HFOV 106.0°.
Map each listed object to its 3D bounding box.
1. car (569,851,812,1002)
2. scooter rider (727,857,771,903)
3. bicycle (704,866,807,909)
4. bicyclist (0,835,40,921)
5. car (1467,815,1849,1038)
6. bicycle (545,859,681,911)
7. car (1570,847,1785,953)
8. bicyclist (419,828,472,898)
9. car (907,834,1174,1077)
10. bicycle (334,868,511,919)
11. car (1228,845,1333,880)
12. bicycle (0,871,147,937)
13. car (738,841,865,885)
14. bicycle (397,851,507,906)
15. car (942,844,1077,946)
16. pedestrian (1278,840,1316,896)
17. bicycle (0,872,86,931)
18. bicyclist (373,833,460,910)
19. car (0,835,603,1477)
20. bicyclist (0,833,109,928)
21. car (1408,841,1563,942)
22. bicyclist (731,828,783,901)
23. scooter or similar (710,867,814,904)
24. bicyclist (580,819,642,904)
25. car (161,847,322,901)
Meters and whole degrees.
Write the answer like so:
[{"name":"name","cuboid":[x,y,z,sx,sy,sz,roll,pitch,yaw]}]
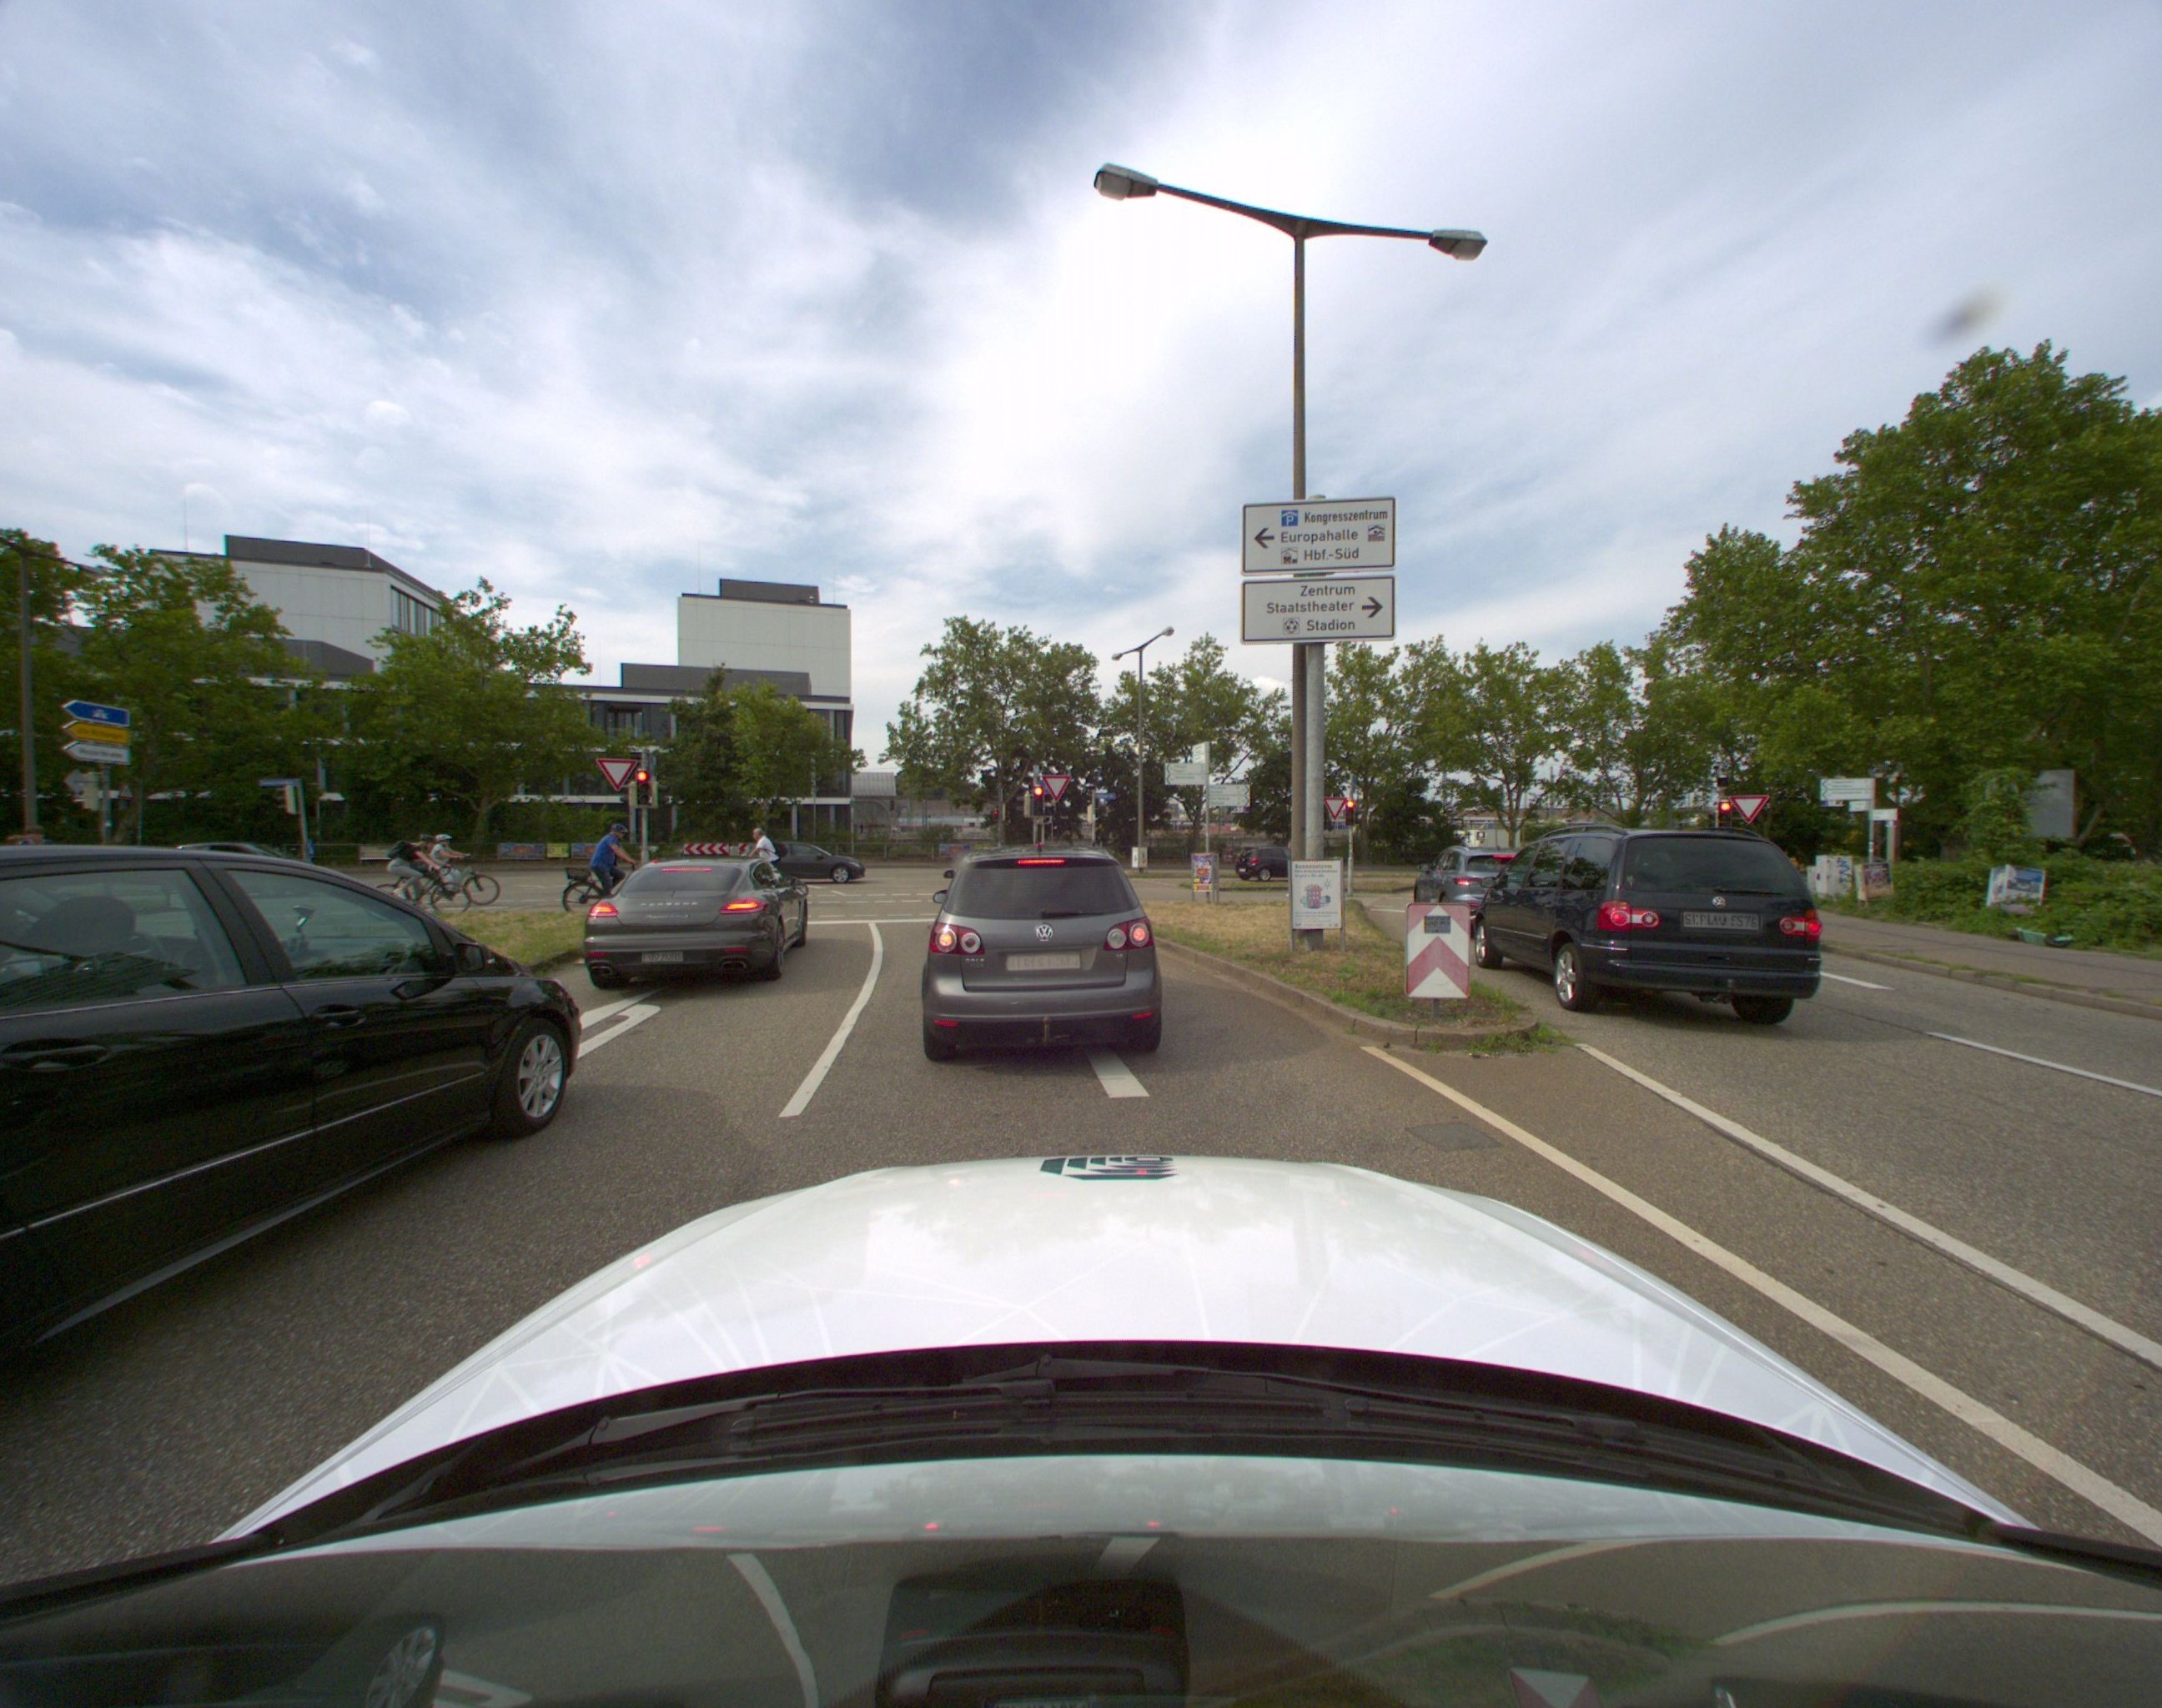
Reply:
[{"name":"car","cuboid":[-4.626,0.695,10.432,1.821,1.414,4.754,0,1,-13]},{"name":"scooter rider","cuboid":[-8.502,0.651,20.902,0.915,1.137,0.805,-1,1,-13]},{"name":"bicycle","cuboid":[-7.774,0.782,19.554,2.235,0.952,0.806,-1,0,-20]},{"name":"bicyclist","cuboid":[-19.523,0.423,14.615,0.843,1.529,0.622,-1,1,-29]},{"name":"car","cuboid":[5.580,0.567,8.602,1.739,1.724,4.151,2,0,11]},{"name":"bicycle","cuboid":[-9.379,0.605,16.419,2.233,0.952,0.807,-1,0,-17]},{"name":"car","cuboid":[10.877,0.739,15.250,1.738,1.643,4.152,2,0,13]},{"name":"bicyclist","cuboid":[-14.775,0.189,18.947,0.782,1.581,0.650,-1,1,-20]},{"name":"car","cuboid":[-0.455,0.643,7.364,1.739,1.546,4.073,-1,0,-6]},{"name":"bicycle","cuboid":[-12.797,0.752,15.929,2.591,0.890,0.700,-1,1,-19]},{"name":"car","cuboid":[8.440,0.333,34.500,4.070,1.368,1.692,-1,0,-20]},{"name":"bicycle","cuboid":[-17.279,0.824,13.720,1.912,1.013,0.623,-1,1,-28]},{"name":"car","cuboid":[-9.667,0.275,28.465,4.067,1.450,1.693,-1,0,-17]},{"name":"bicycle","cuboid":[-14.647,0.555,19.012,1.907,1.210,0.638,-1,1,-21]},{"name":"car","cuboid":[-1.388,0.598,14.109,1.743,1.482,4.063,-1,0,-14]},{"name":"pedestrian","cuboid":[6.705,0.420,25.264,1.038,1.710,0.858,1,1,19]},{"name":"bicycle","cuboid":[-19.480,0.855,14.638,1.913,1.013,0.622,-1,1,-30]},{"name":"bicyclist","cuboid":[-12.942,0.319,15.890,1.116,1.436,0.644,-1,1,-18]},{"name":"car","cuboid":[-3.647,0.724,2.965,1.755,1.575,4.028,0,1,-6]},{"name":"bicyclist","cuboid":[-17.298,0.414,13.695,1.022,1.539,0.623,-1,1,-28]},{"name":"car","cuboid":[7.396,0.607,15.300,1.679,1.585,4.171,2,0,13]},{"name":"bicyclist","cuboid":[-7.756,0.246,19.558,1.116,1.696,0.808,-1,0,-20]},{"name":"scooter or similar","cuboid":[-8.171,0.794,20.986,2.381,0.849,0.805,-1,1,-14]},{"name":"bicyclist","cuboid":[-9.450,0.131,16.407,0.883,1.656,0.807,-1,0,-17]},{"name":"car","cuboid":[-23.335,0.512,22.739,2.719,1.422,1.490,-1,0,-19]}]
